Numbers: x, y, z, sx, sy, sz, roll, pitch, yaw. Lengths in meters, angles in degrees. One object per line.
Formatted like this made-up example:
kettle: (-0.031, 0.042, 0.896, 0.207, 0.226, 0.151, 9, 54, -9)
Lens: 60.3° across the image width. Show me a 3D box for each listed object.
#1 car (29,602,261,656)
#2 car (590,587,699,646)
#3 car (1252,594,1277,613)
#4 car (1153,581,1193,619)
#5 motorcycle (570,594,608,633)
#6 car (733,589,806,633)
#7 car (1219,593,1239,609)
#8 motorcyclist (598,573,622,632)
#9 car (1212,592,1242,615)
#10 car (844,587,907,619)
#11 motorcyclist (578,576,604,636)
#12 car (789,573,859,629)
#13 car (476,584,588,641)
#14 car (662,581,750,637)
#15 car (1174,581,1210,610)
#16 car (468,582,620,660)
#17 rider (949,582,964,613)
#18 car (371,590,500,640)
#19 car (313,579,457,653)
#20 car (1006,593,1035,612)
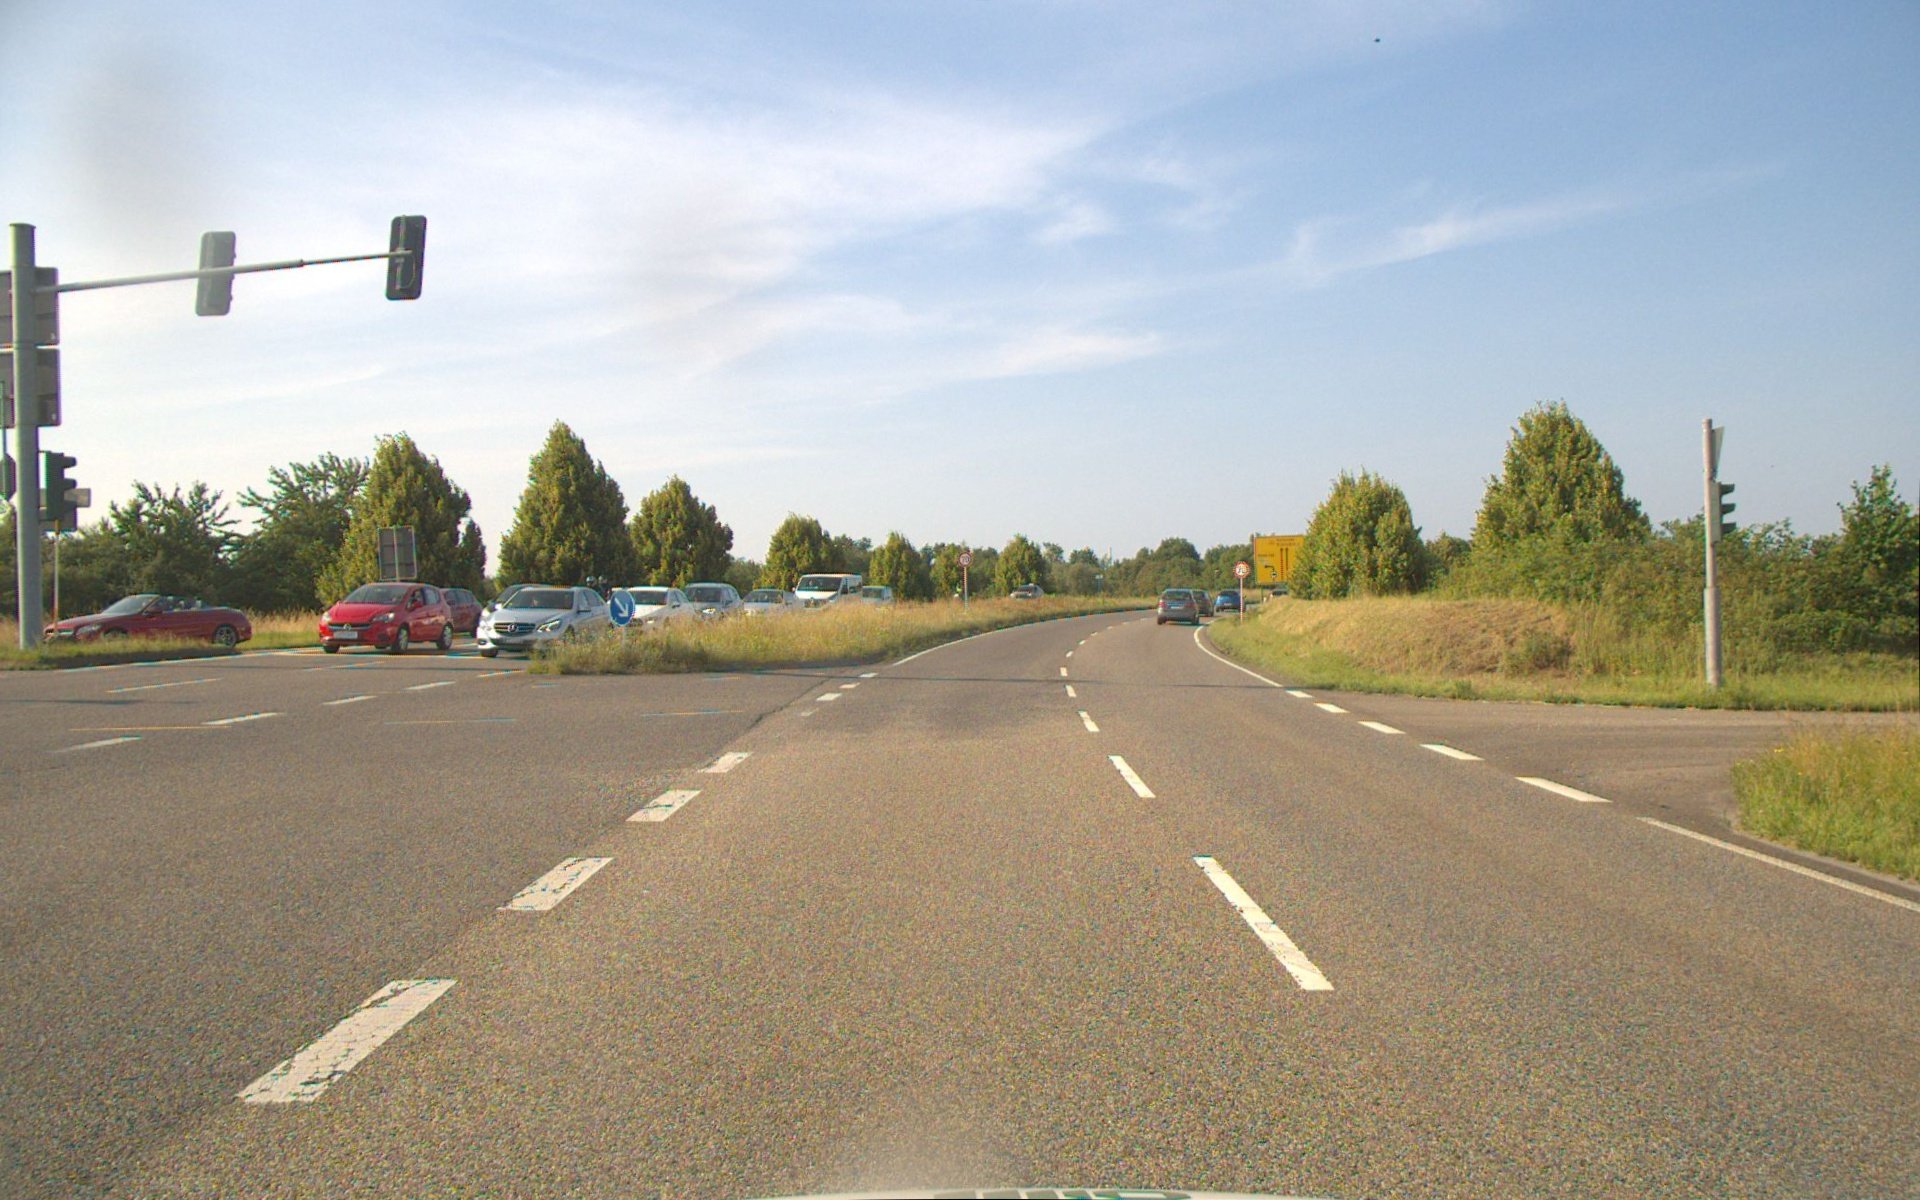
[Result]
car: (-18.293, 0.616, 37.349, 1.954, 1.121, 4.473, 0, 0, 26)
car: (-8.129, 0.401, 42.972, 1.748, 1.458, 4.311, -1, 0, 4)
car: (24.347, 0.307, 132.145, 1.874, 1.440, 3.798, 0, -1, 12)
car: (9.683, 0.022, 75.095, 1.746, 1.633, 4.199, 0, -1, 8)
motorcycle: (-10.980, 0.385, 49.000, 0.855, 1.116, 1.468, 0, 0, -3)
car: (-6.354, 0.363, 55.566, 1.748, 1.410, 4.053, -1, 0, 3)
car: (24.904, 0.092, 152.950, 1.735, 1.518, 3.988, 0, 0, 10)
motorcyclist: (-10.999, 0.083, 51.950, 0.649, 1.849, 0.605, 0, 0, -4)
car: (17.841, 0.209, 110.471, 1.735, 1.518, 3.988, 0, 0, 12)
car: (-3.714, 0.122, 73.623, 1.748, 1.410, 4.055, -1, 0, 13)
motorcyclist: (-10.948, 0.169, 49.036, 0.649, 1.778, 0.605, 0, 0, -4)
car: (-5.294, 0.047, 64.908, 1.884, 2.114, 4.246, -1, 0, 7)
car: (-11.469, 0.326, 44.608, 1.748, 1.458, 4.053, -1, 0, 3)
car: (-7.521, 0.249, 49.294, 1.748, 1.596, 4.053, -1, 0, 3)
car: (13.277, -0.236, 94.472, 1.771, 1.593, 4.535, 0, 0, 12)
car: (-8.626, 0.404, 34.691, 1.748, 1.514, 4.653, -1, 0, 4)
rider: (-0.222, -0.178, 108.992, 0.849, 2.049, 0.772, 0, 0, 15)
car: (-14.772, 0.406, 46.779, 1.623, 1.350, 4.217, 0, 0, 12)
car: (-12.323, 0.321, 35.685, 1.685, 1.514, 3.805, -1, 0, 1)
car: (4.540, 0.165, 123.272, 1.376, 1.426, 3.424, -1, 0, 16)
